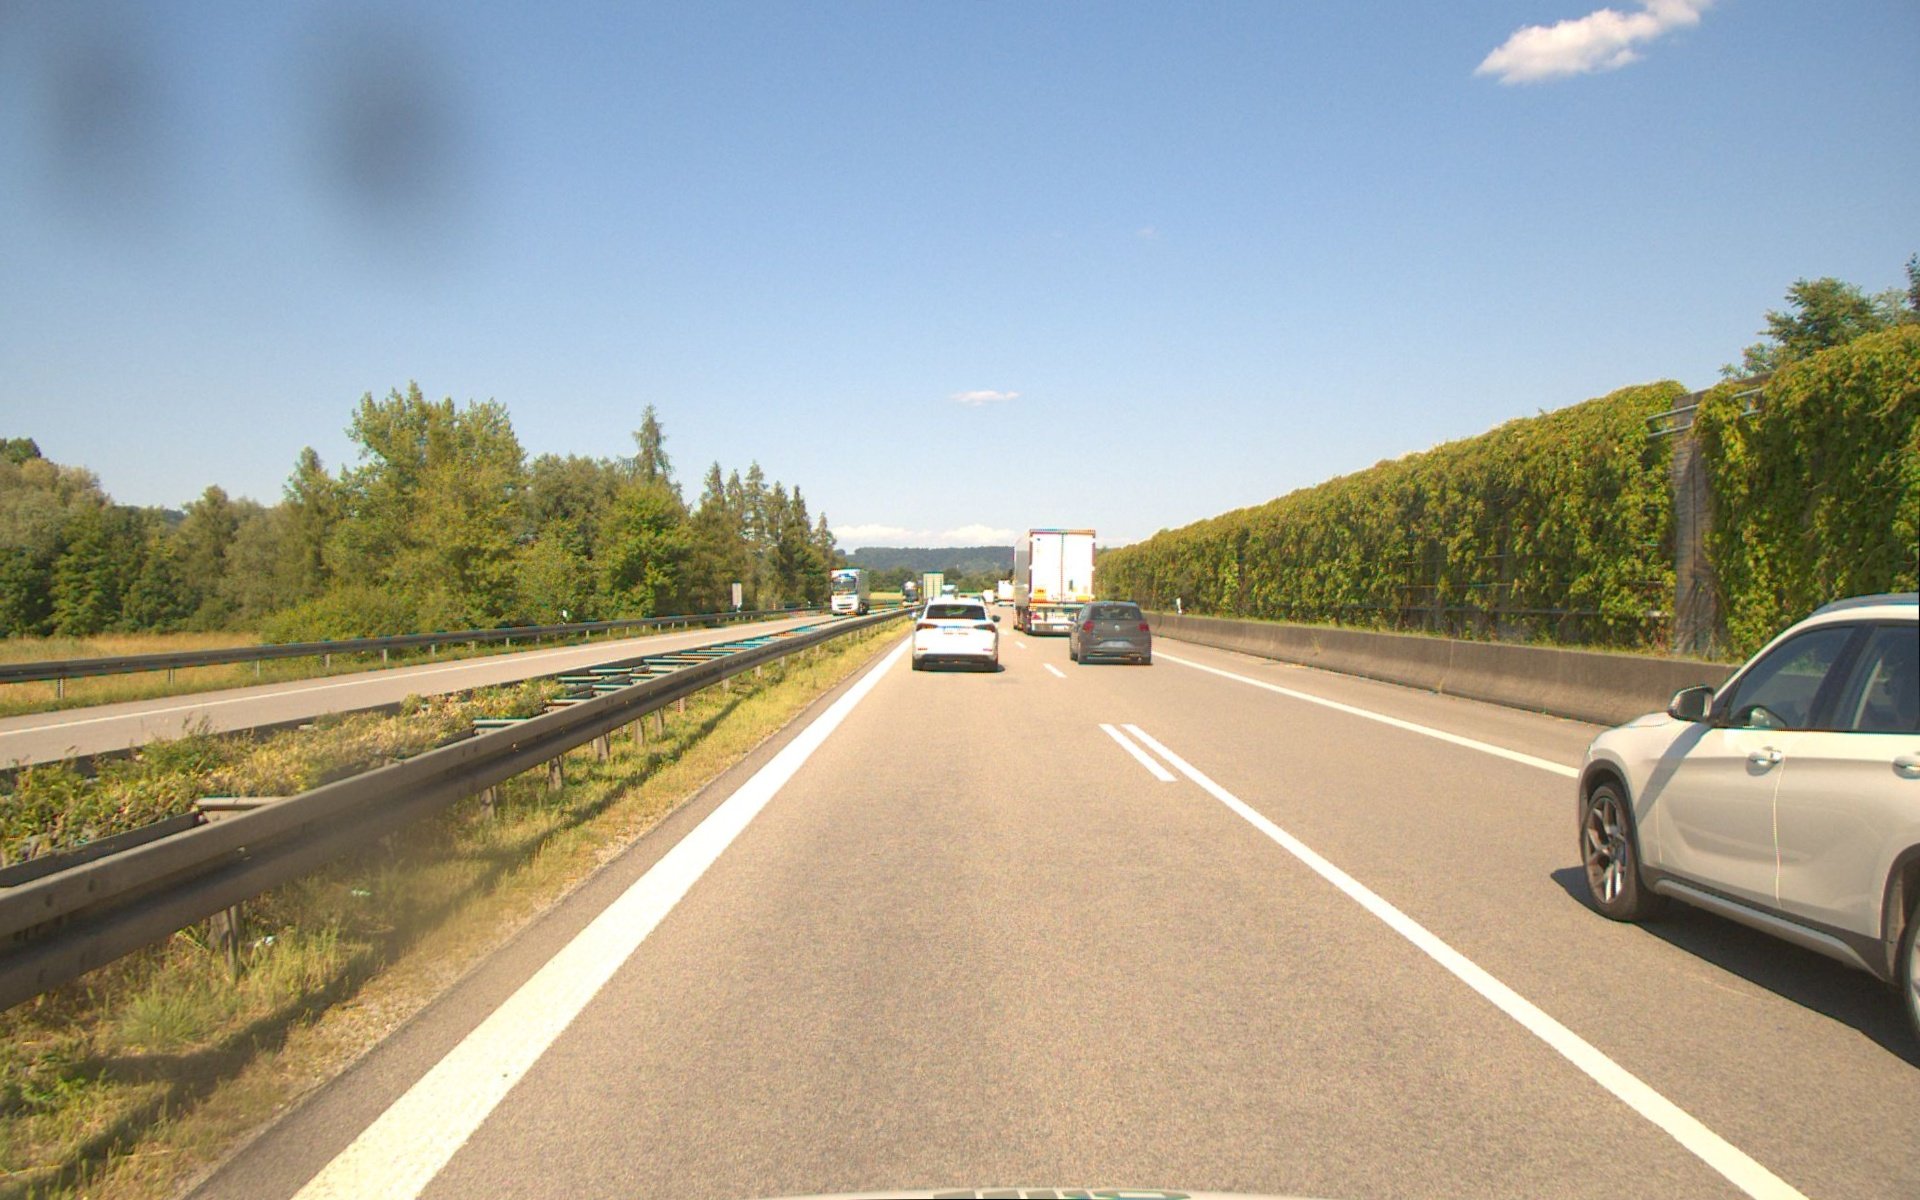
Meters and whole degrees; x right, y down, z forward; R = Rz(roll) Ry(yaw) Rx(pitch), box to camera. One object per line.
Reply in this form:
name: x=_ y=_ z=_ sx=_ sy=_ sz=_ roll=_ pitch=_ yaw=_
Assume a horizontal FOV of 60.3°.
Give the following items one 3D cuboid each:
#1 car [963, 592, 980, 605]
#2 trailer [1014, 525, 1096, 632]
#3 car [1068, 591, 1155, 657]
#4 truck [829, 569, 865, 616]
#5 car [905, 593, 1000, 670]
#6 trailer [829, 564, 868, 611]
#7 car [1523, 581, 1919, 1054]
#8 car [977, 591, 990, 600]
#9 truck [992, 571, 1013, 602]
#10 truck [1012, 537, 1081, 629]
car: x=1.261 y=-0.186 z=182.257 sx=1.735 sy=1.446 sz=4.494 roll=1 pitch=0 yaw=-1
trailer: x=3.884 y=-0.884 z=70.608 sx=2.760 sy=4.035 sz=14.161 roll=-1 pitch=0 yaw=1
car: x=3.552 y=0.533 z=39.418 sx=1.631 sy=1.480 sz=4.544 roll=1 pitch=0 yaw=0
truck: x=-10.223 y=-0.709 z=149.931 sx=2.589 sy=4.078 sz=7.193 roll=-2 pitch=0 yaw=0
car: x=-0.138 y=0.602 z=34.585 sx=1.802 sy=1.446 sz=5.254 roll=1 pitch=0 yaw=0
trailer: x=-10.273 y=-1.104 z=153.375 sx=2.607 sy=4.078 sz=14.087 roll=-2 pitch=0 yaw=0
car: x=3.958 y=0.703 z=6.679 sx=1.650 sy=1.522 sz=4.987 roll=0 pitch=1 yaw=0
car: x=3.662 y=-0.720 z=257.666 sx=1.734 sy=1.446 sz=4.366 roll=1 pitch=0 yaw=3
truck: x=6.696 y=-2.058 z=259.917 sx=3.087 sy=4.693 sz=8.906 roll=-1 pitch=0 yaw=1
truck: x=3.990 y=-0.796 z=77.314 sx=2.782 sy=4.035 sz=7.044 roll=-1 pitch=0 yaw=0
